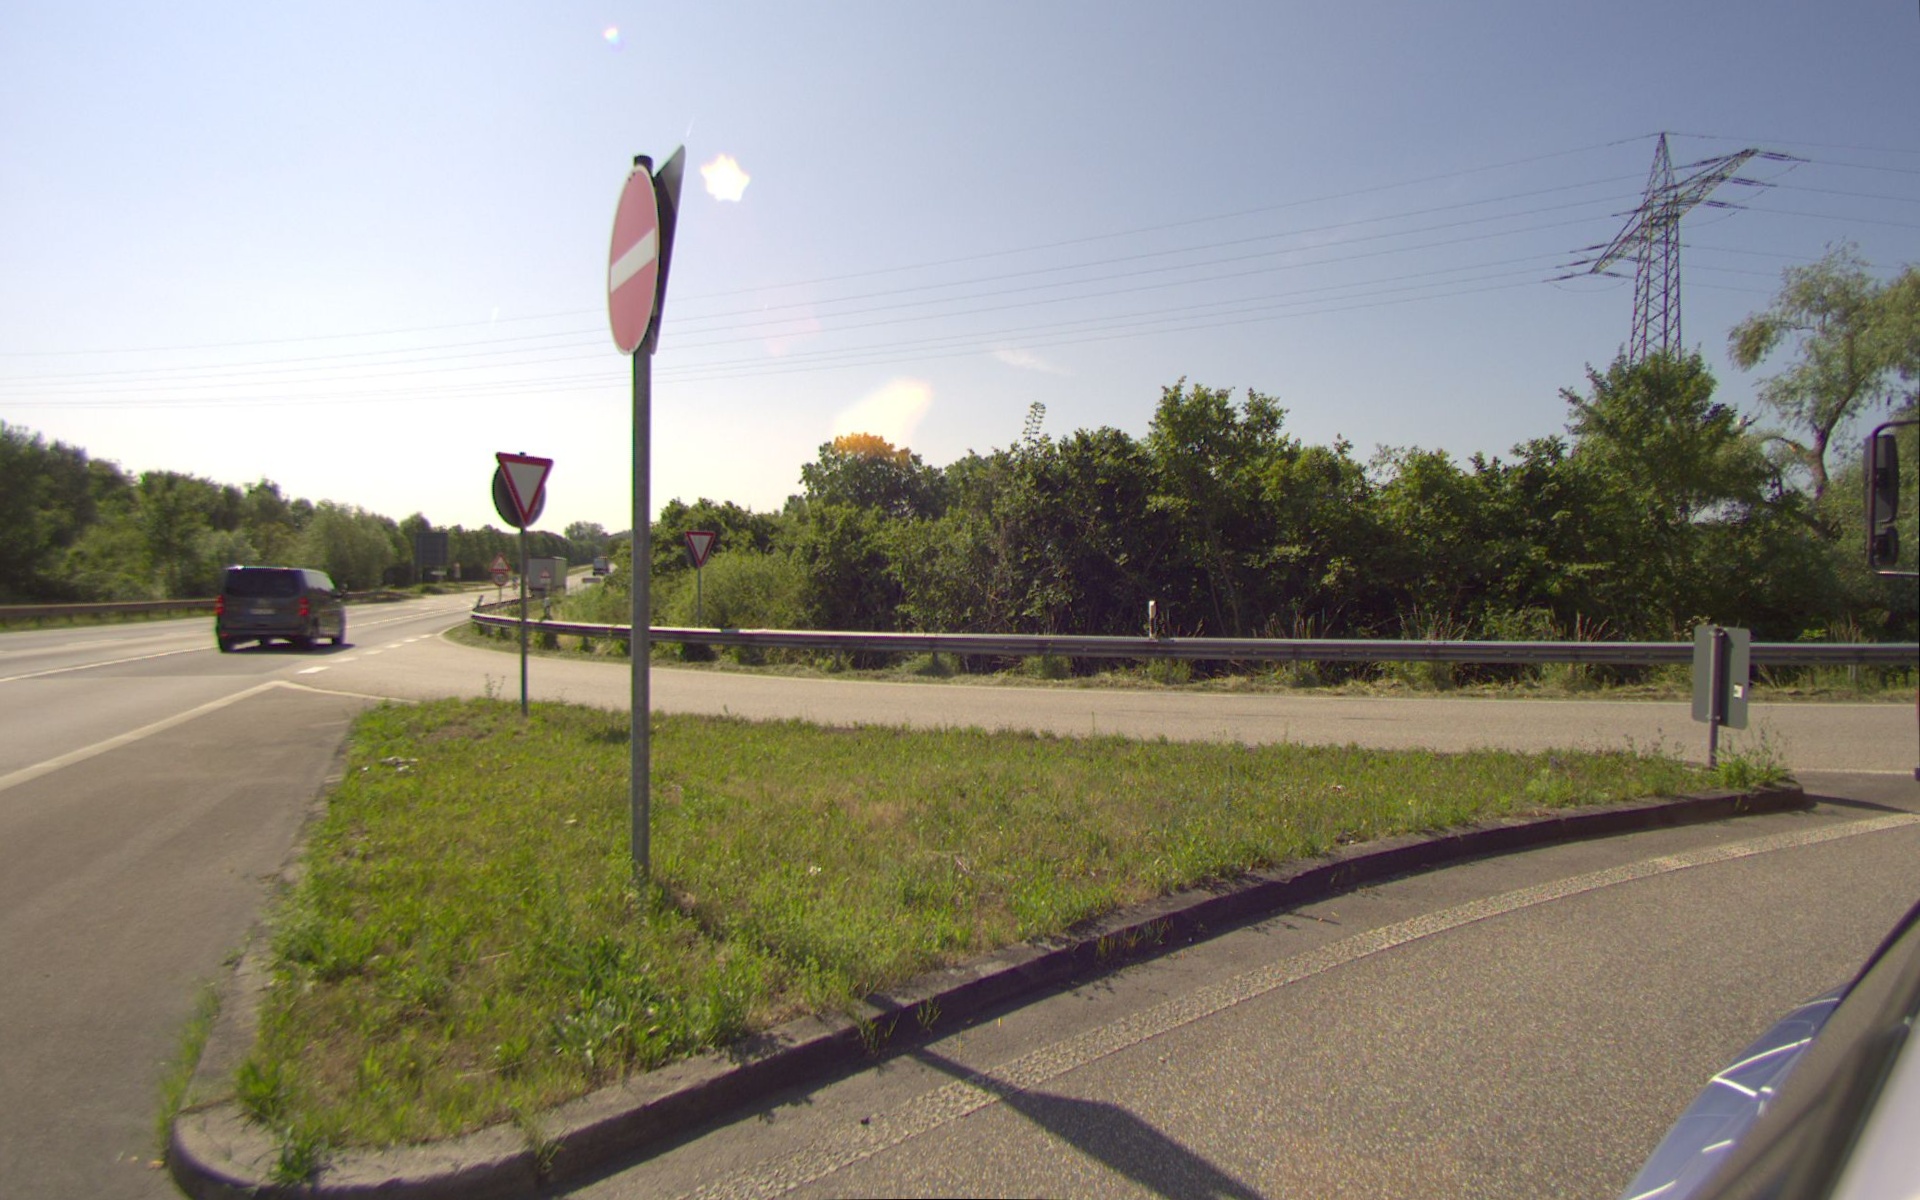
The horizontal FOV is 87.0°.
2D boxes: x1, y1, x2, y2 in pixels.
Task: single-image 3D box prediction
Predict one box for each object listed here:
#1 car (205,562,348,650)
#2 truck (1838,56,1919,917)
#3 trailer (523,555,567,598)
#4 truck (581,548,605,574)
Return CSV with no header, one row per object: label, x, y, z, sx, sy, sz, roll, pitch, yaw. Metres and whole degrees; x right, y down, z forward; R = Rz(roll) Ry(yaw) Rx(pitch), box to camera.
car,-16.440,0.132,24.614,1.958,1.903,5.003,2,0,-24
truck,8.691,-0.478,5.280,9.070,3.707,2.696,0,0,-25
trailer,-42.436,-2.409,103.762,2.868,4.060,13.446,1,1,-17
truck,-82.722,-8.739,228.168,4.051,5.524,13.635,0,1,-15
